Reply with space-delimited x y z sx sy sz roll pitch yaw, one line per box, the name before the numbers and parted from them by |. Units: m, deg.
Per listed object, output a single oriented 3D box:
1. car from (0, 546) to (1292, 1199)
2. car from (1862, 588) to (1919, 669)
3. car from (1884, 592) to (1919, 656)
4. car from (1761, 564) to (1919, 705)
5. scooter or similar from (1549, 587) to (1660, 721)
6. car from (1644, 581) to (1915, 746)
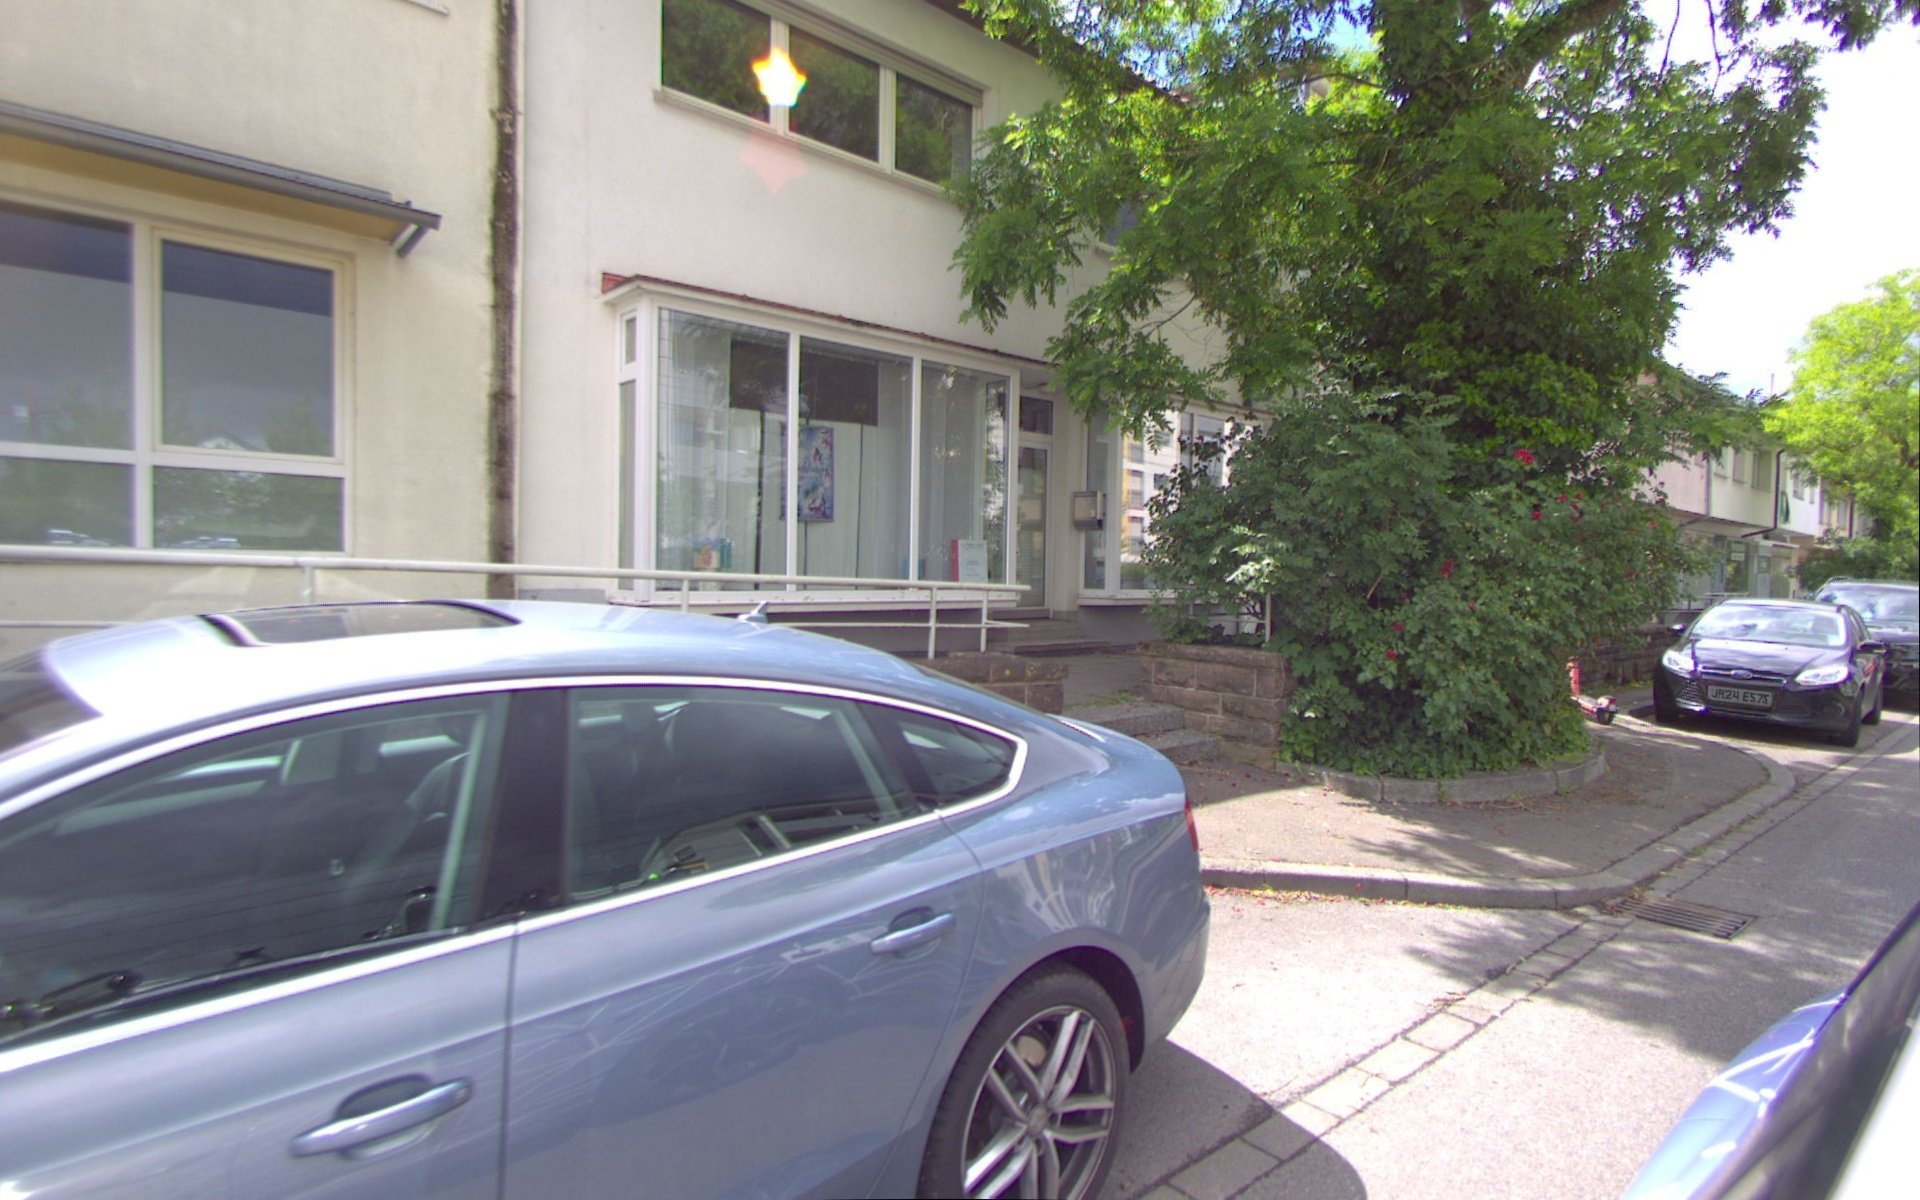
car | -1.350 0.649 1.840 4.417 1.460 1.758 0 3 -43
car | 19.238 0.547 19.968 3.835 1.459 1.774 -1 5 -44
car | 23.087 0.572 23.468 3.927 1.365 1.777 0 4 -38
car | 14.115 0.430 15.412 4.986 1.810 2.020 0 3 -40
scooter or similar | 6.605 0.513 10.431 0.528 1.258 1.231 2 1 13
car | 9.656 0.587 11.805 4.170 1.524 1.837 0 3 -43
